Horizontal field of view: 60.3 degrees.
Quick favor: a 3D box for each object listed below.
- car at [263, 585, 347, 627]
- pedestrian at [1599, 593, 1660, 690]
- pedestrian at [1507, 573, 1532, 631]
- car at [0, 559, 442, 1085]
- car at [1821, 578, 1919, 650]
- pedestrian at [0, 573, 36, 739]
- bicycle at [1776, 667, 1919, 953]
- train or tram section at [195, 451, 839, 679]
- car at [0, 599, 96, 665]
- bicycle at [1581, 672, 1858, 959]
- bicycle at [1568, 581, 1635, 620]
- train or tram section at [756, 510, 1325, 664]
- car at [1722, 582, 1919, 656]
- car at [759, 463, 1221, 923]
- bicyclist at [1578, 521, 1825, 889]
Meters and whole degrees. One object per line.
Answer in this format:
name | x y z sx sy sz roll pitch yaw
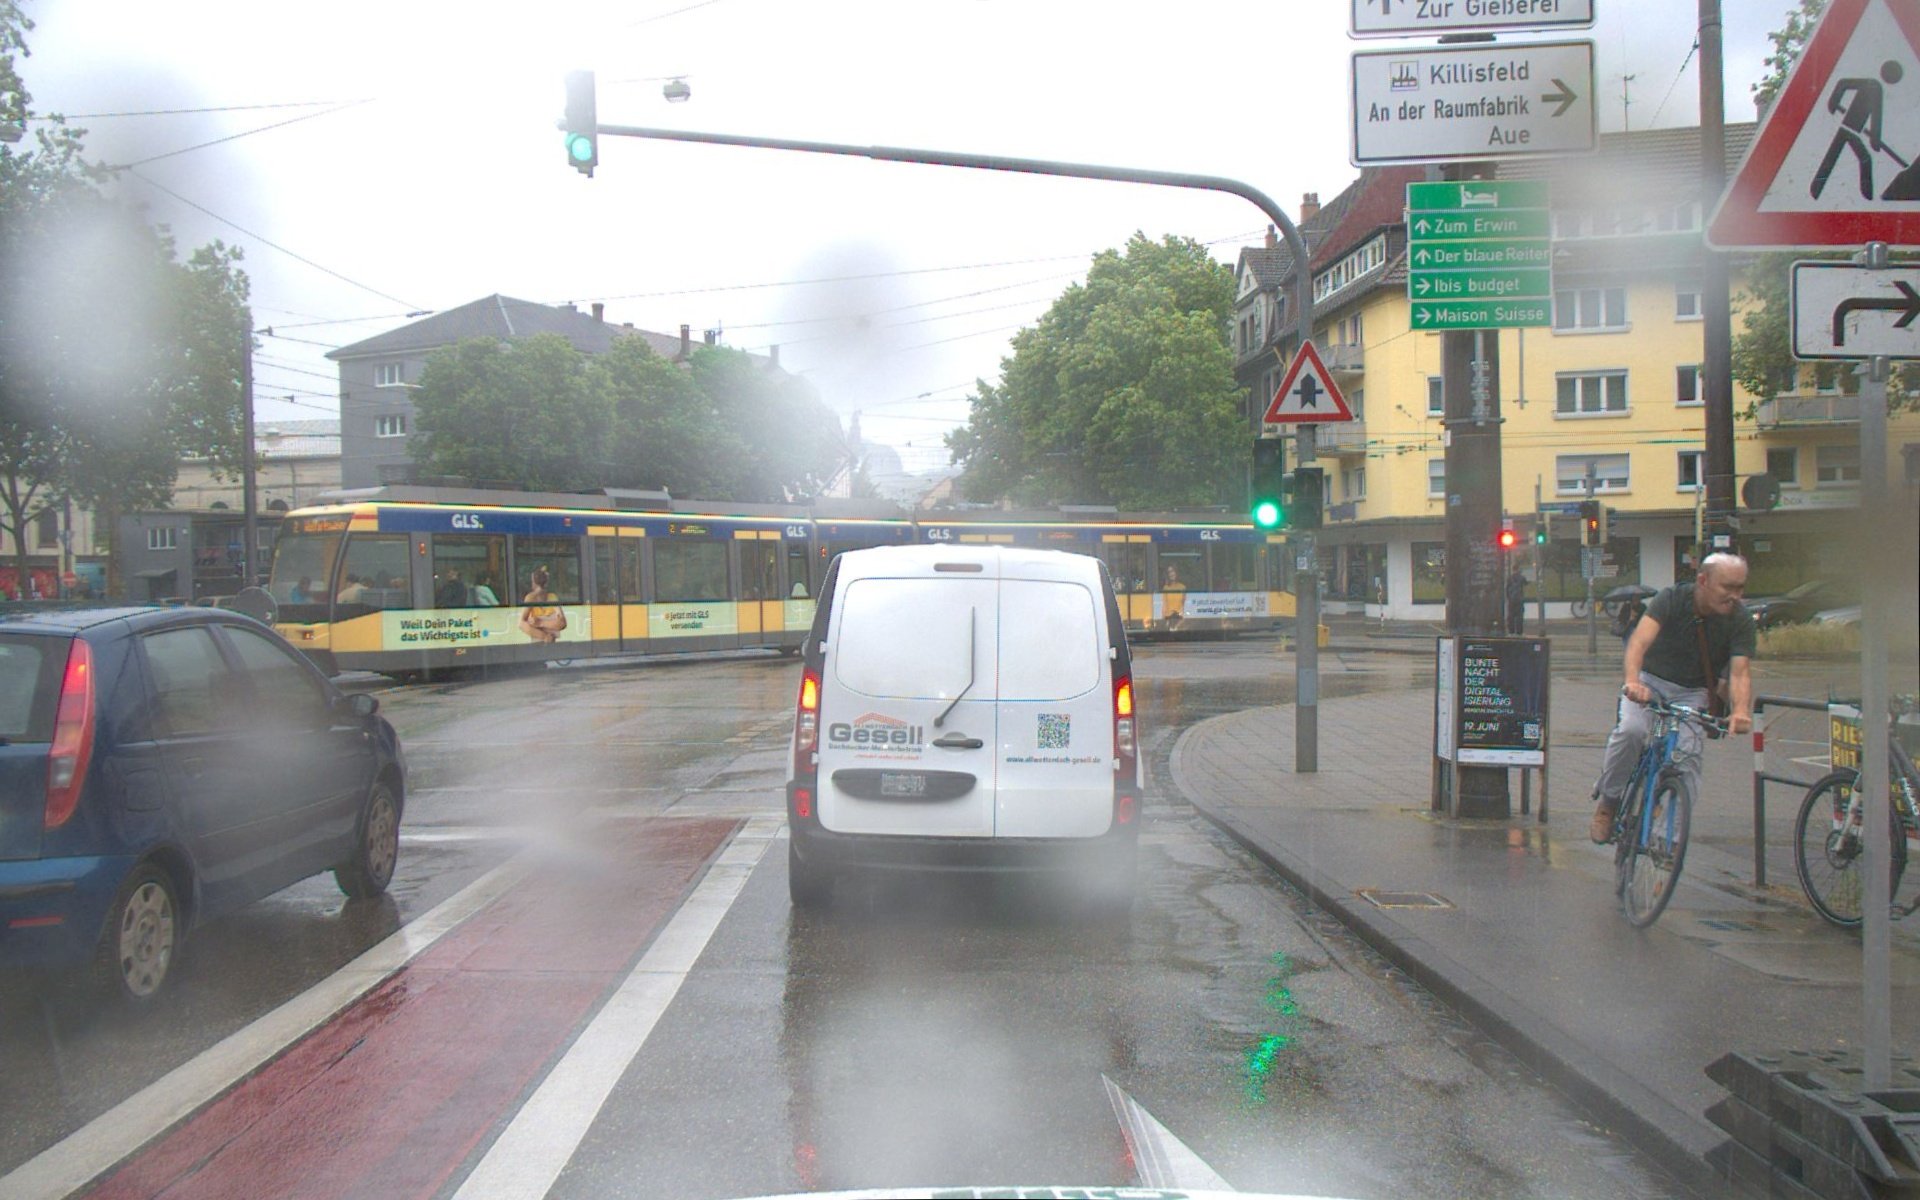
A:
car | -34.337 0.315 86.786 1.605 2.170 4.099 0 0 25
pedestrian | 10.953 0.662 27.050 0.809 1.561 0.614 1 0 -39
pedestrian | 14.745 0.048 43.588 0.607 1.526 0.553 0 0 16
car | -3.607 0.671 6.950 1.692 1.606 3.820 0 0 -1
car | 21.069 0.289 35.960 3.854 1.516 1.808 0 1 15
pedestrian | -9.696 0.551 16.602 0.616 1.635 0.737 0 0 -21
bicycle | 4.256 0.909 7.084 0.503 1.126 2.017 3 0 1
train or tram section | -7.779 -0.513 32.598 3.449 3.574 13.626 1 0 31
car | -21.484 0.694 37.627 1.611 1.411 3.999 0 0 -1
bicycle | 3.442 0.919 7.670 0.449 1.045 1.902 0 1 1
bicycle | 21.555 0.005 55.594 2.056 1.283 0.532 0 1 14
train or tram section | 2.500 -0.175 42.647 15.293 3.472 3.516 1 0 -31
car | 20.863 0.461 39.077 4.832 1.672 2.001 0 -2 11
car | 0.100 0.420 9.873 2.058 2.047 4.962 0 0 -1
bicyclist | 3.431 0.457 7.737 0.859 1.611 0.861 0 0 9
